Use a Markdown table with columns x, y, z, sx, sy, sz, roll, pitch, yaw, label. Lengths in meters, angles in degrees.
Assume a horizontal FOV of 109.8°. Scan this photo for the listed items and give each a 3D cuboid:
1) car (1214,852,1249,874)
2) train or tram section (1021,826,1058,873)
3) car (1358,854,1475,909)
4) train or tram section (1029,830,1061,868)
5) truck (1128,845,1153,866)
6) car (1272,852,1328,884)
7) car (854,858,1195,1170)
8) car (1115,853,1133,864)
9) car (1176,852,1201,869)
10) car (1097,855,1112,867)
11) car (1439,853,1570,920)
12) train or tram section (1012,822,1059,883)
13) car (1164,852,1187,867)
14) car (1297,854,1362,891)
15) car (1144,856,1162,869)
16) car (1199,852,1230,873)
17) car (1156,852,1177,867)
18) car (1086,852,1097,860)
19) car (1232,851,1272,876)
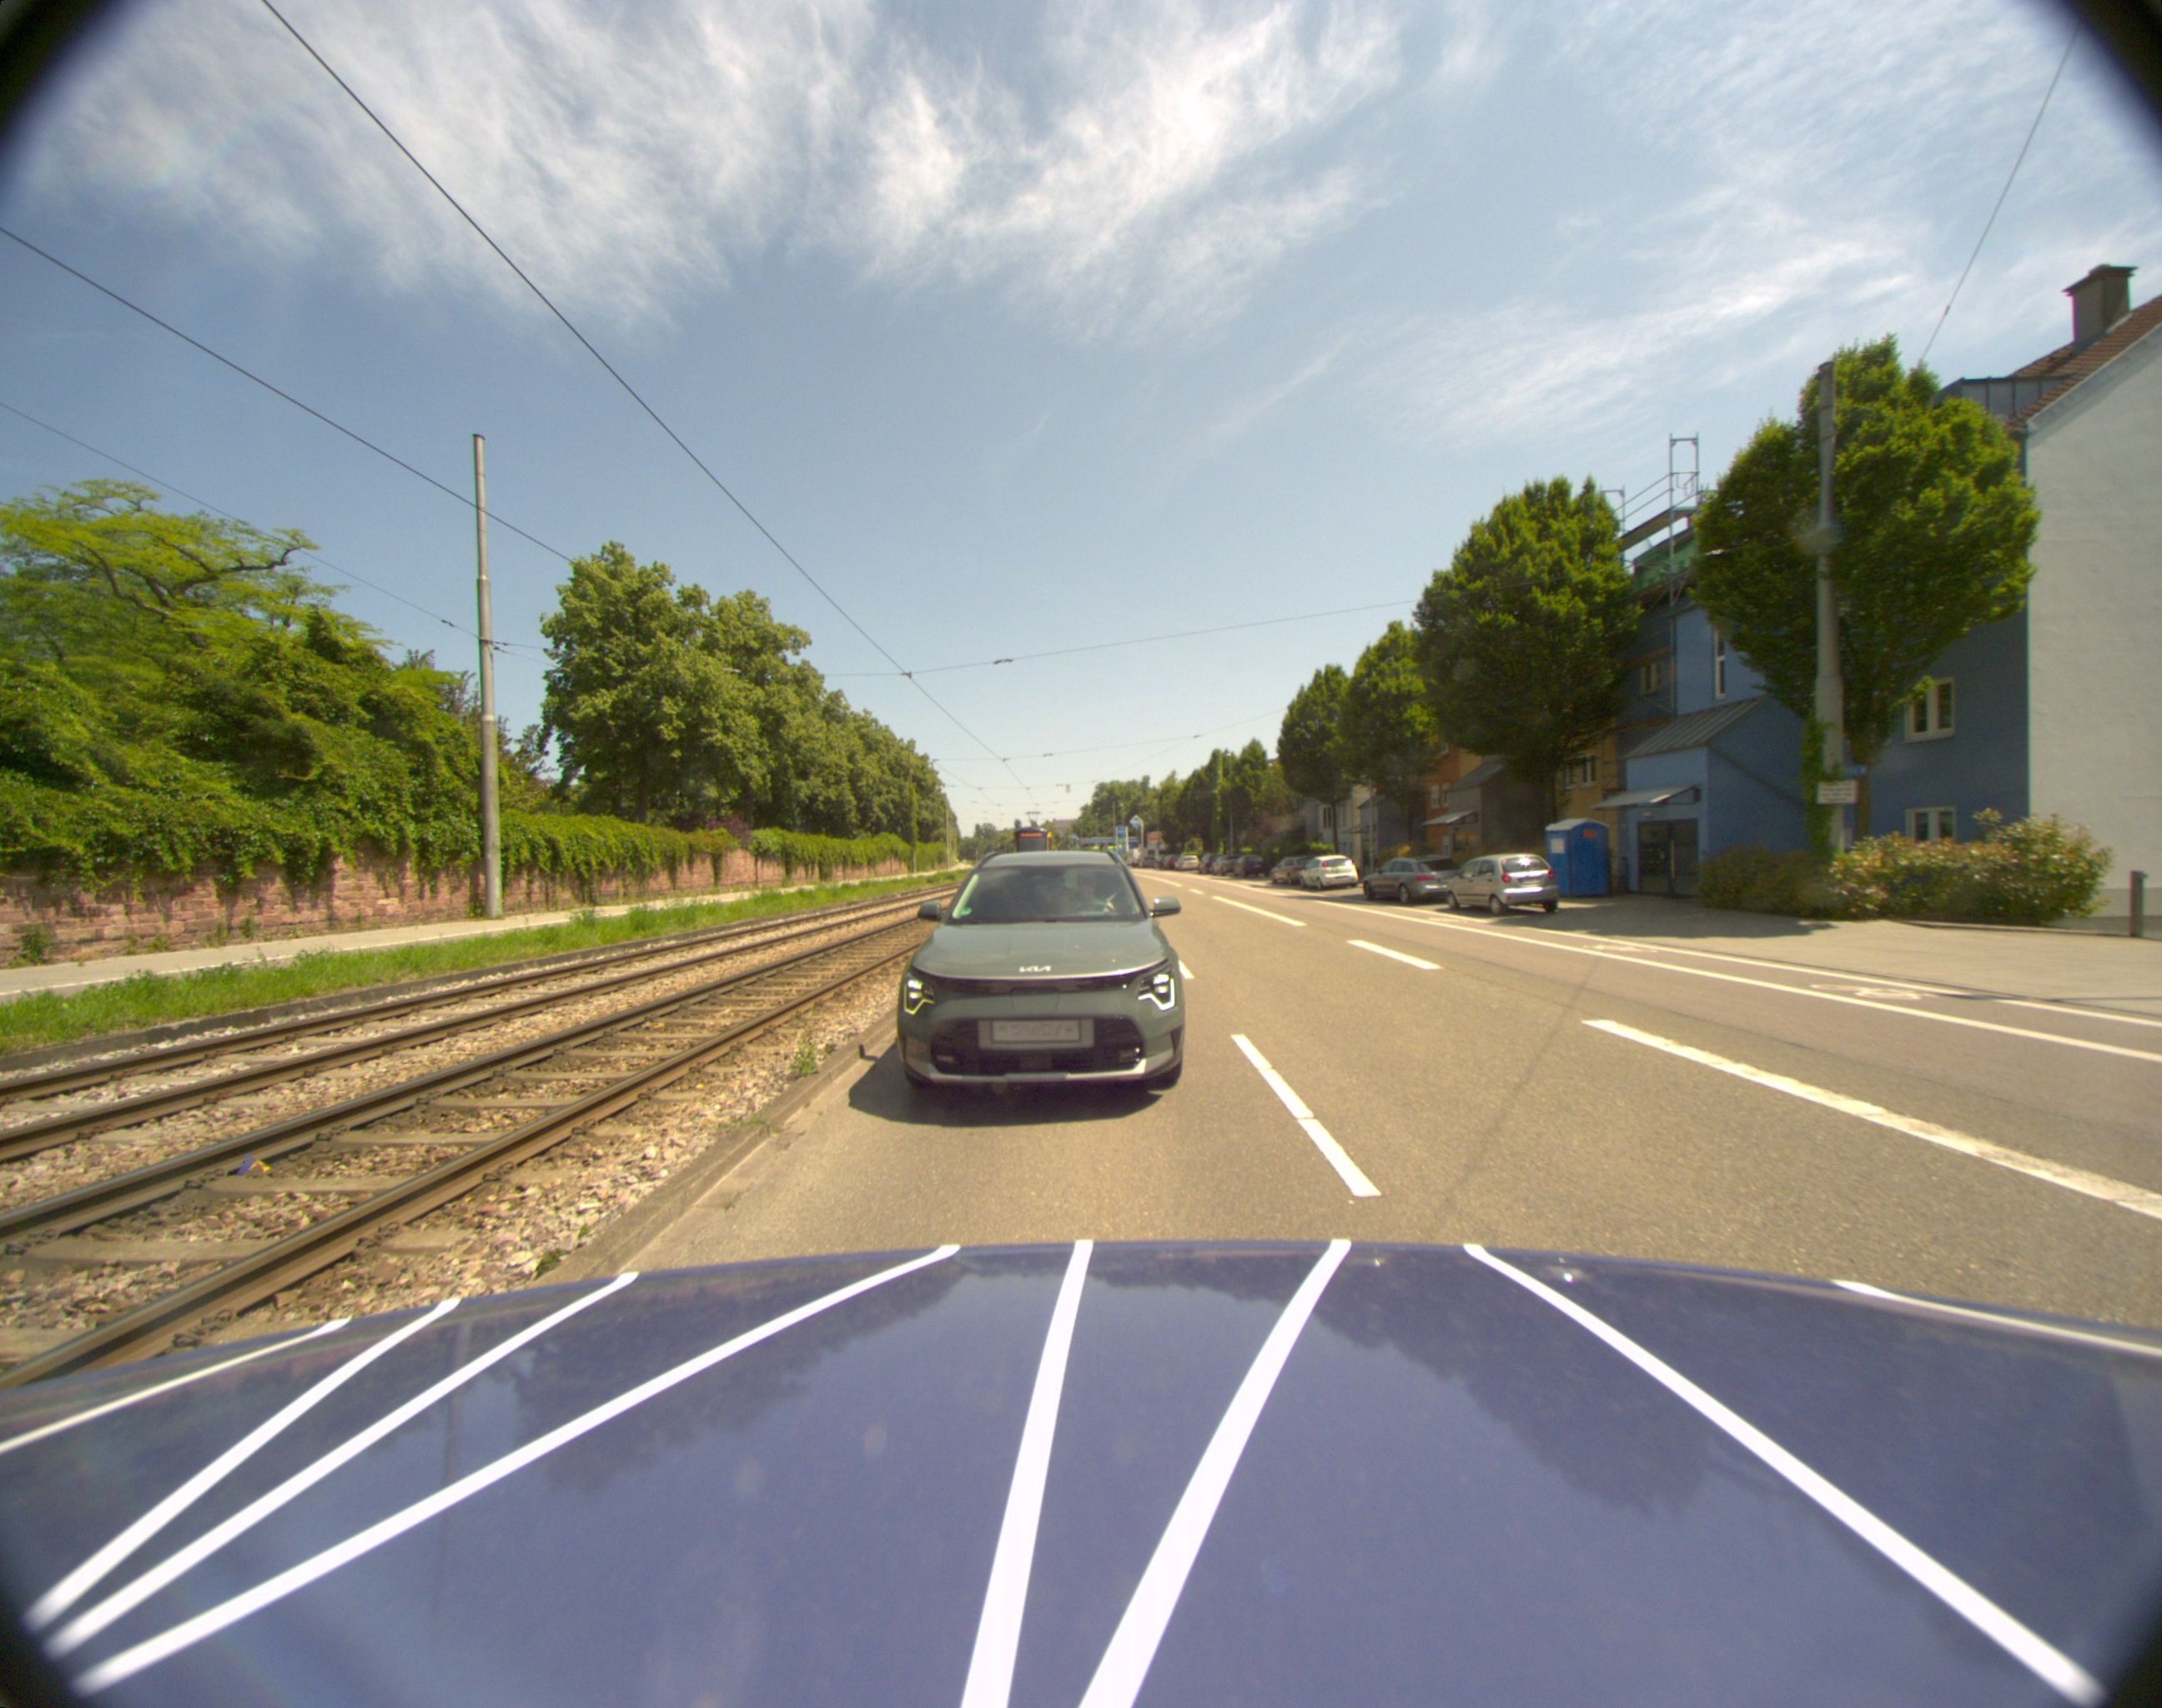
| x | y | z | sx | sy | sz | roll | pitch | yaw | label |
| --- | --- | --- | --- | --- | --- | --- | --- | --- | --- |
| 11.178 | 0.651 | 56.585 | 1.656 | 1.487 | 4.082 | -5 | 0 | 0 | car |
| -3.614 | -0.445 | 69.832 | 2.784 | 3.789 | 14.258 | -2 | 1 | -1 | train or tram section |
| 10.888 | 0.825 | 25.084 | 1.680 | 1.487 | 4.638 | -5 | 0 | 0 | car |
| -3.820 | -0.605 | 84.064 | 2.783 | 3.786 | 14.259 | -2 | 1 | -1 | train or tram section |
| 7.759 | 0.181 | 99.950 | 2.135 | 2.565 | 4.860 | -5 | 0 | -8 | truck |
| 11.532 | 0.708 | 40.231 | 1.656 | 1.487 | 4.082 | -5 | 0 | 0 | car |
| -0.273 | 0.866 | 6.267 | 1.759 | 1.574 | 4.427 | -2 | 0 | 1 | car |
| 6.325 | 0.635 | 111.675 | 1.866 | 1.487 | 3.468 | -5 | 0 | -8 | car |
| 10.485 | 0.632 | 74.069 | 1.723 | 1.487 | 4.082 | -5 | 0 | 0 | car |
| 3.397 | 0.994 | 109.363 | 1.865 | 1.487 | 3.470 | -5 | 0 | 0 | car |
| 11.009 | 0.782 | 20.010 | 1.505 | 1.487 | 3.282 | -5 | 0 | 0 | car |
| -3.175 | -0.141 | 55.576 | 2.814 | 3.785 | 14.257 | -2 | 1 | -2 | train or tram section |
| 9.905 | 0.558 | 80.003 | 1.865 | 1.487 | 3.470 | -5 | 0 | 0 | car |
| 11.395 | 0.804 | 35.043 | 1.656 | 1.487 | 3.649 | -5 | 0 | 0 | car |
| 8.870 | 1.016 | 93.895 | 1.865 | 1.487 | 3.470 | -5 | 0 | 0 | car |
| 11.013 | 0.676 | 62.792 | 1.656 | 1.578 | 4.082 | -5 | 0 | 0 | car |
| 9.511 | 0.583 | 84.557 | 1.865 | 1.487 | 3.470 | -5 | 0 | 0 | car |
| 1.839 | 0.392 | 138.306 | 1.865 | 1.487 | 3.470 | -1 | 0 | -1 | car |
| 11.630 | 0.614 | 51.858 | 1.656 | 1.487 | 4.082 | -5 | 0 | 0 | car |
